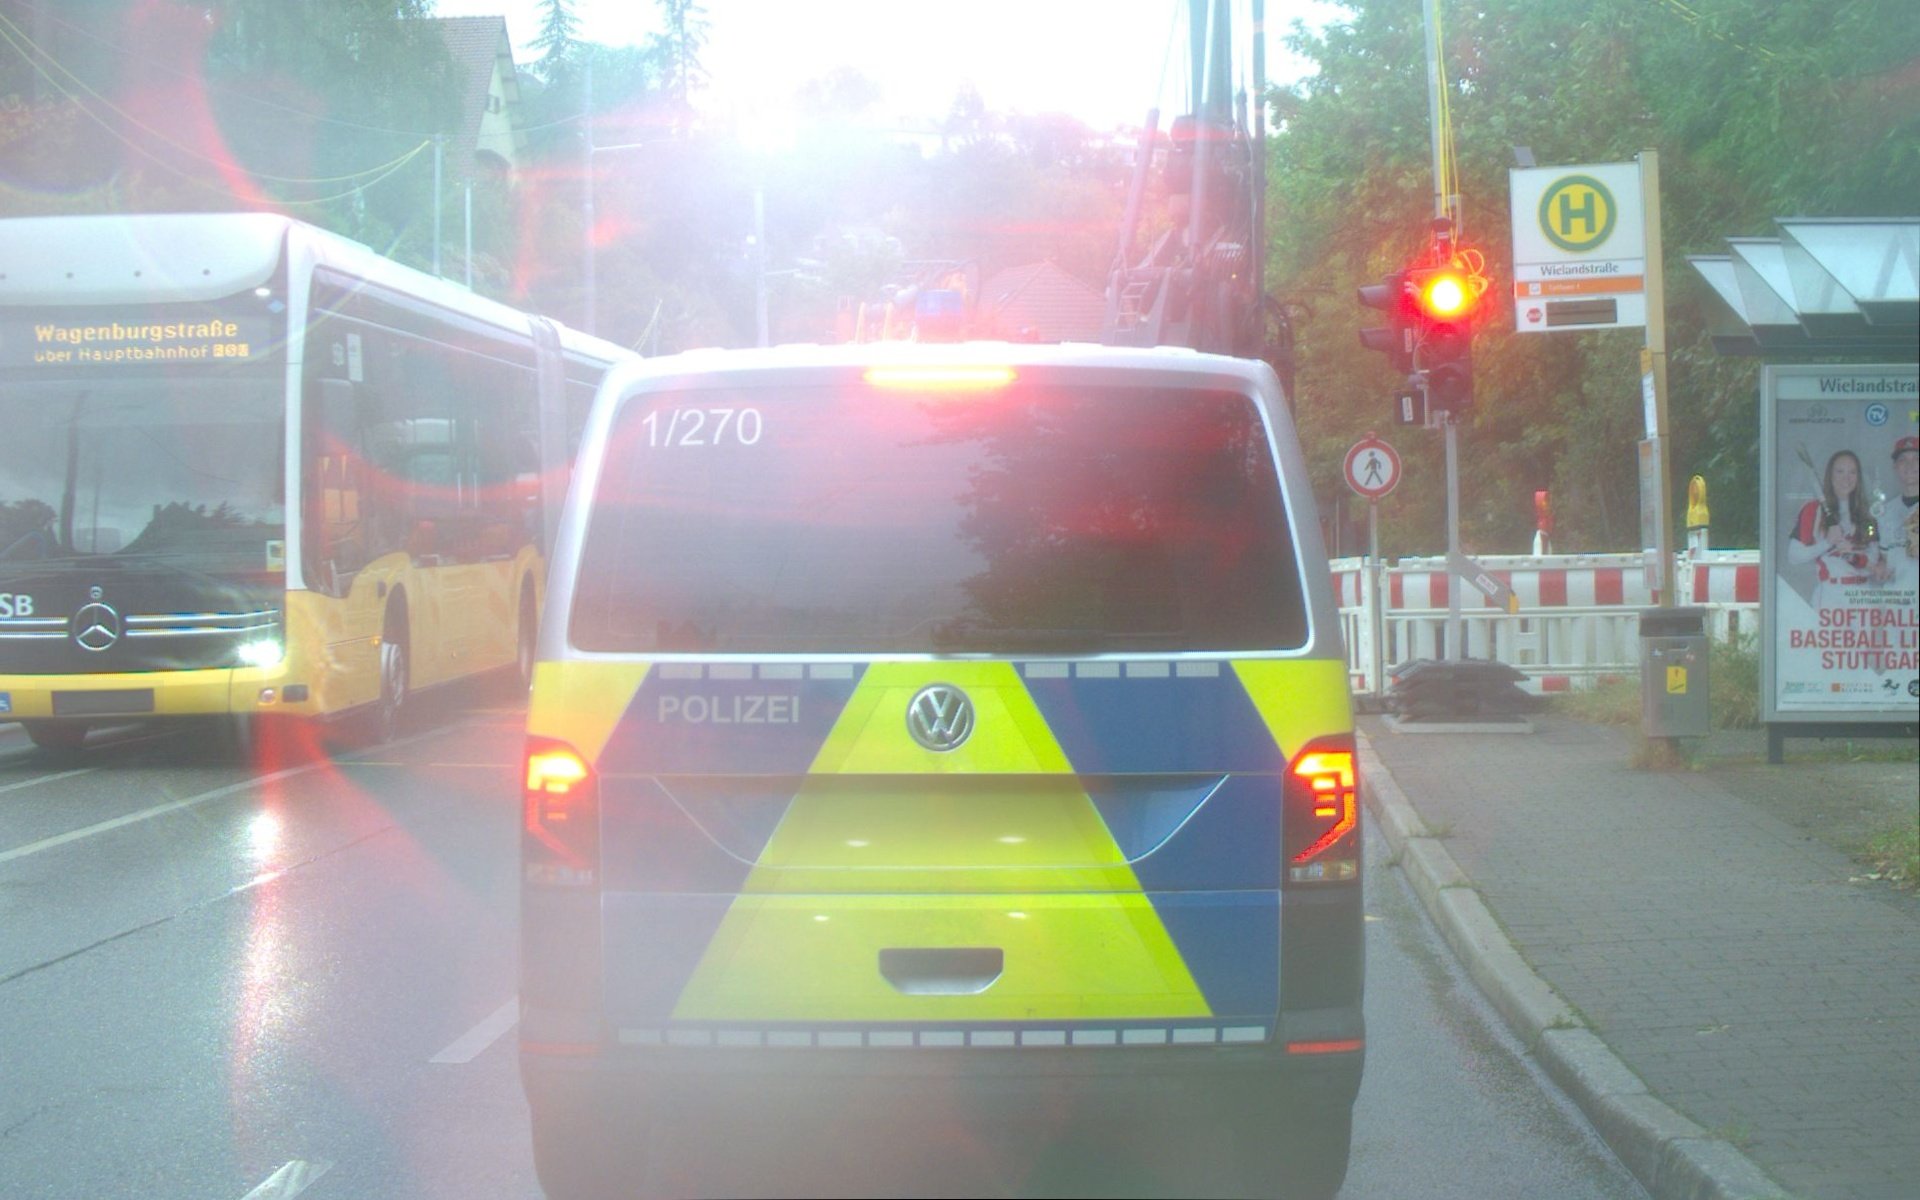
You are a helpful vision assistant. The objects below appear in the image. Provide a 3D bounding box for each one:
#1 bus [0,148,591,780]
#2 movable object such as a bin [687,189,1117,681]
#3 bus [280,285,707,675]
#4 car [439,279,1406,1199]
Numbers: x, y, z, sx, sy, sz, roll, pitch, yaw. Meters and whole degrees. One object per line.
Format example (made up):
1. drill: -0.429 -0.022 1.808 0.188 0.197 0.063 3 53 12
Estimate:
1. bus: -5.029 -0.936 26.317 2.841 3.705 12.006 1 1 1
2. movable object such as a bin: -0.427 -1.461 31.622 2.832 4.163 4.378 1 1 15
3. bus: -4.805 -1.252 38.155 2.841 3.612 12.006 1 1 1
4. car: -0.099 0.358 8.823 1.893 2.043 4.000 1 1 -1
